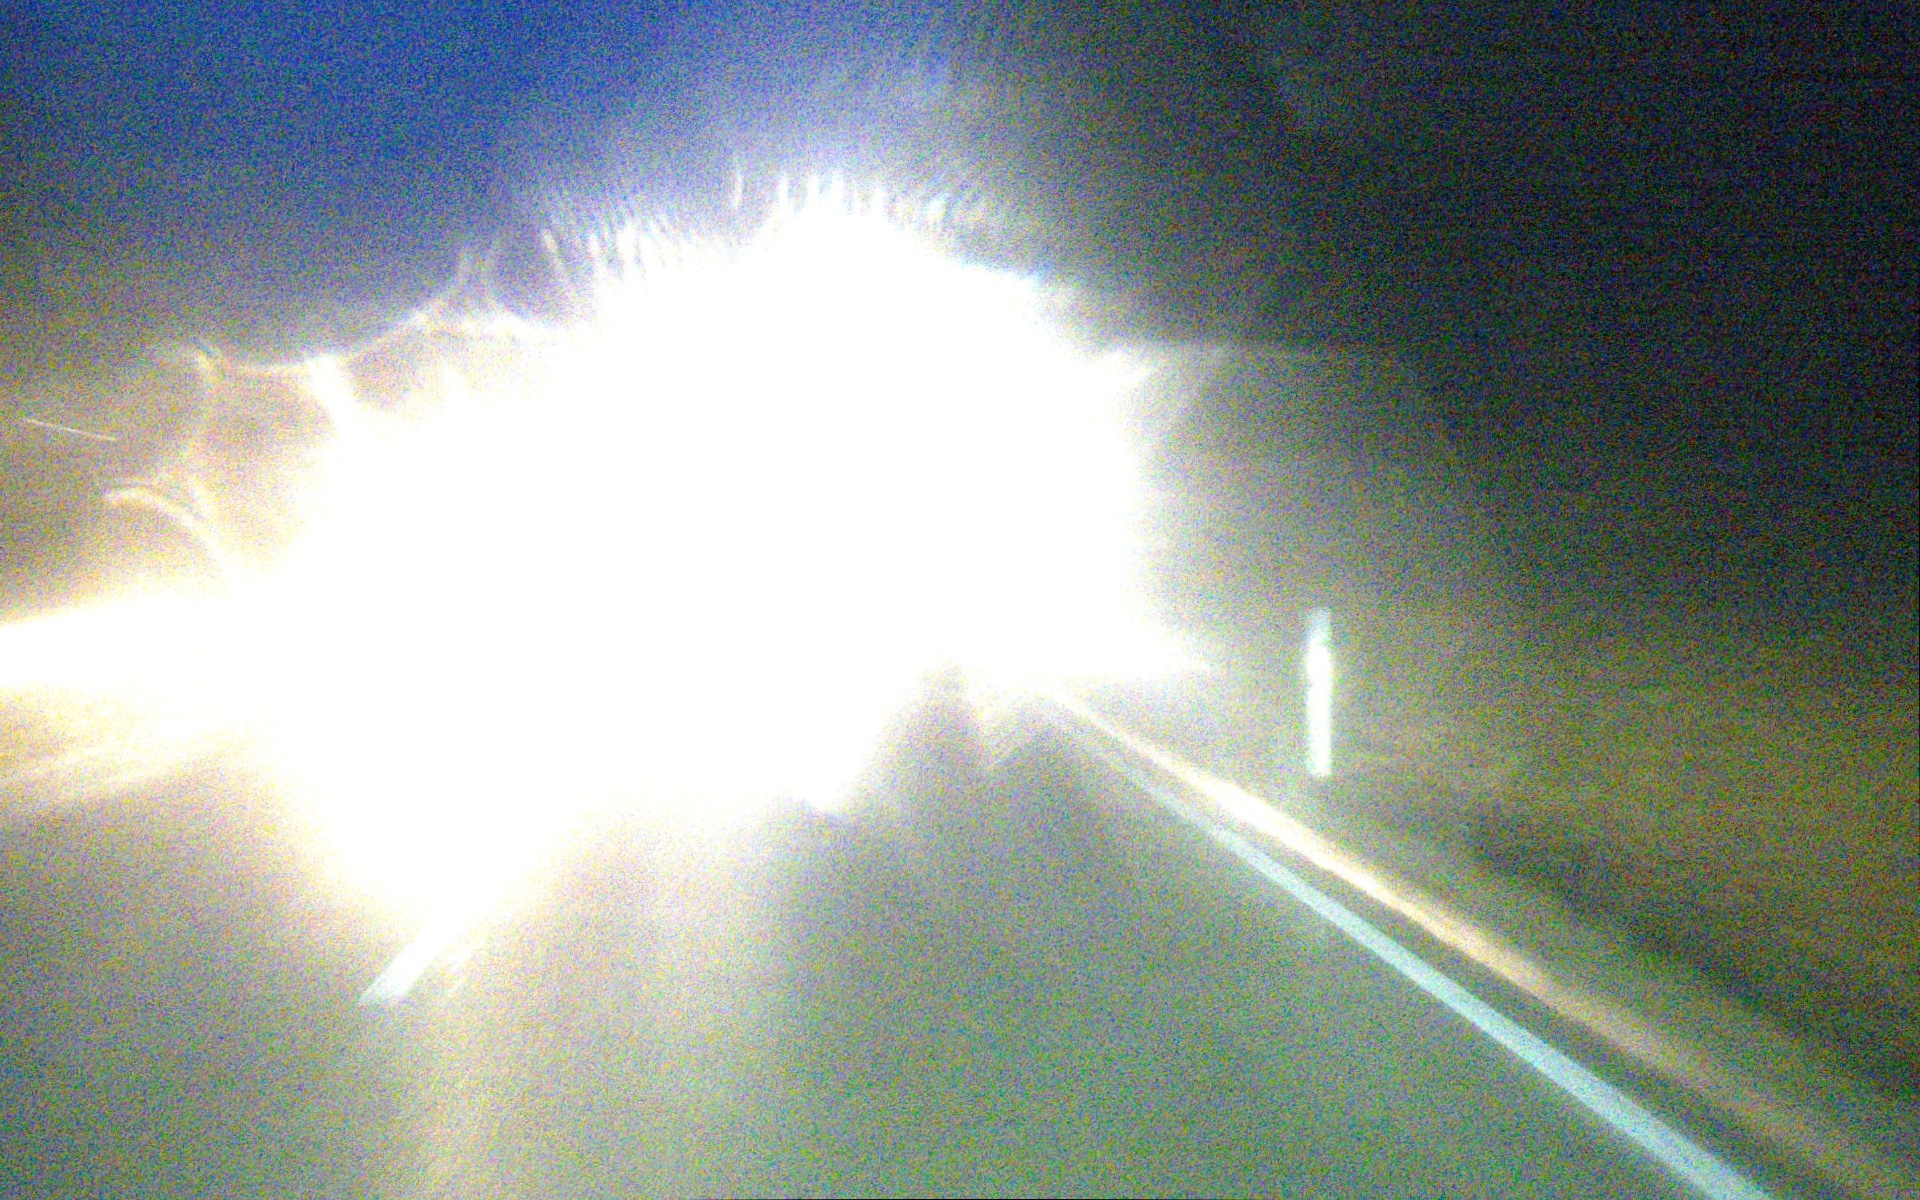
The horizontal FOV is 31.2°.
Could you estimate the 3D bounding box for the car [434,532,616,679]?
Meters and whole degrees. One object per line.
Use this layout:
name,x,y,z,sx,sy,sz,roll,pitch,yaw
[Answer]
car,-5.037,0.021,40.210,1.721,1.607,4.002,1,1,-2

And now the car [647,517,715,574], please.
car,-8.207,-1.626,101.471,1.808,1.594,4.632,2,1,-3
